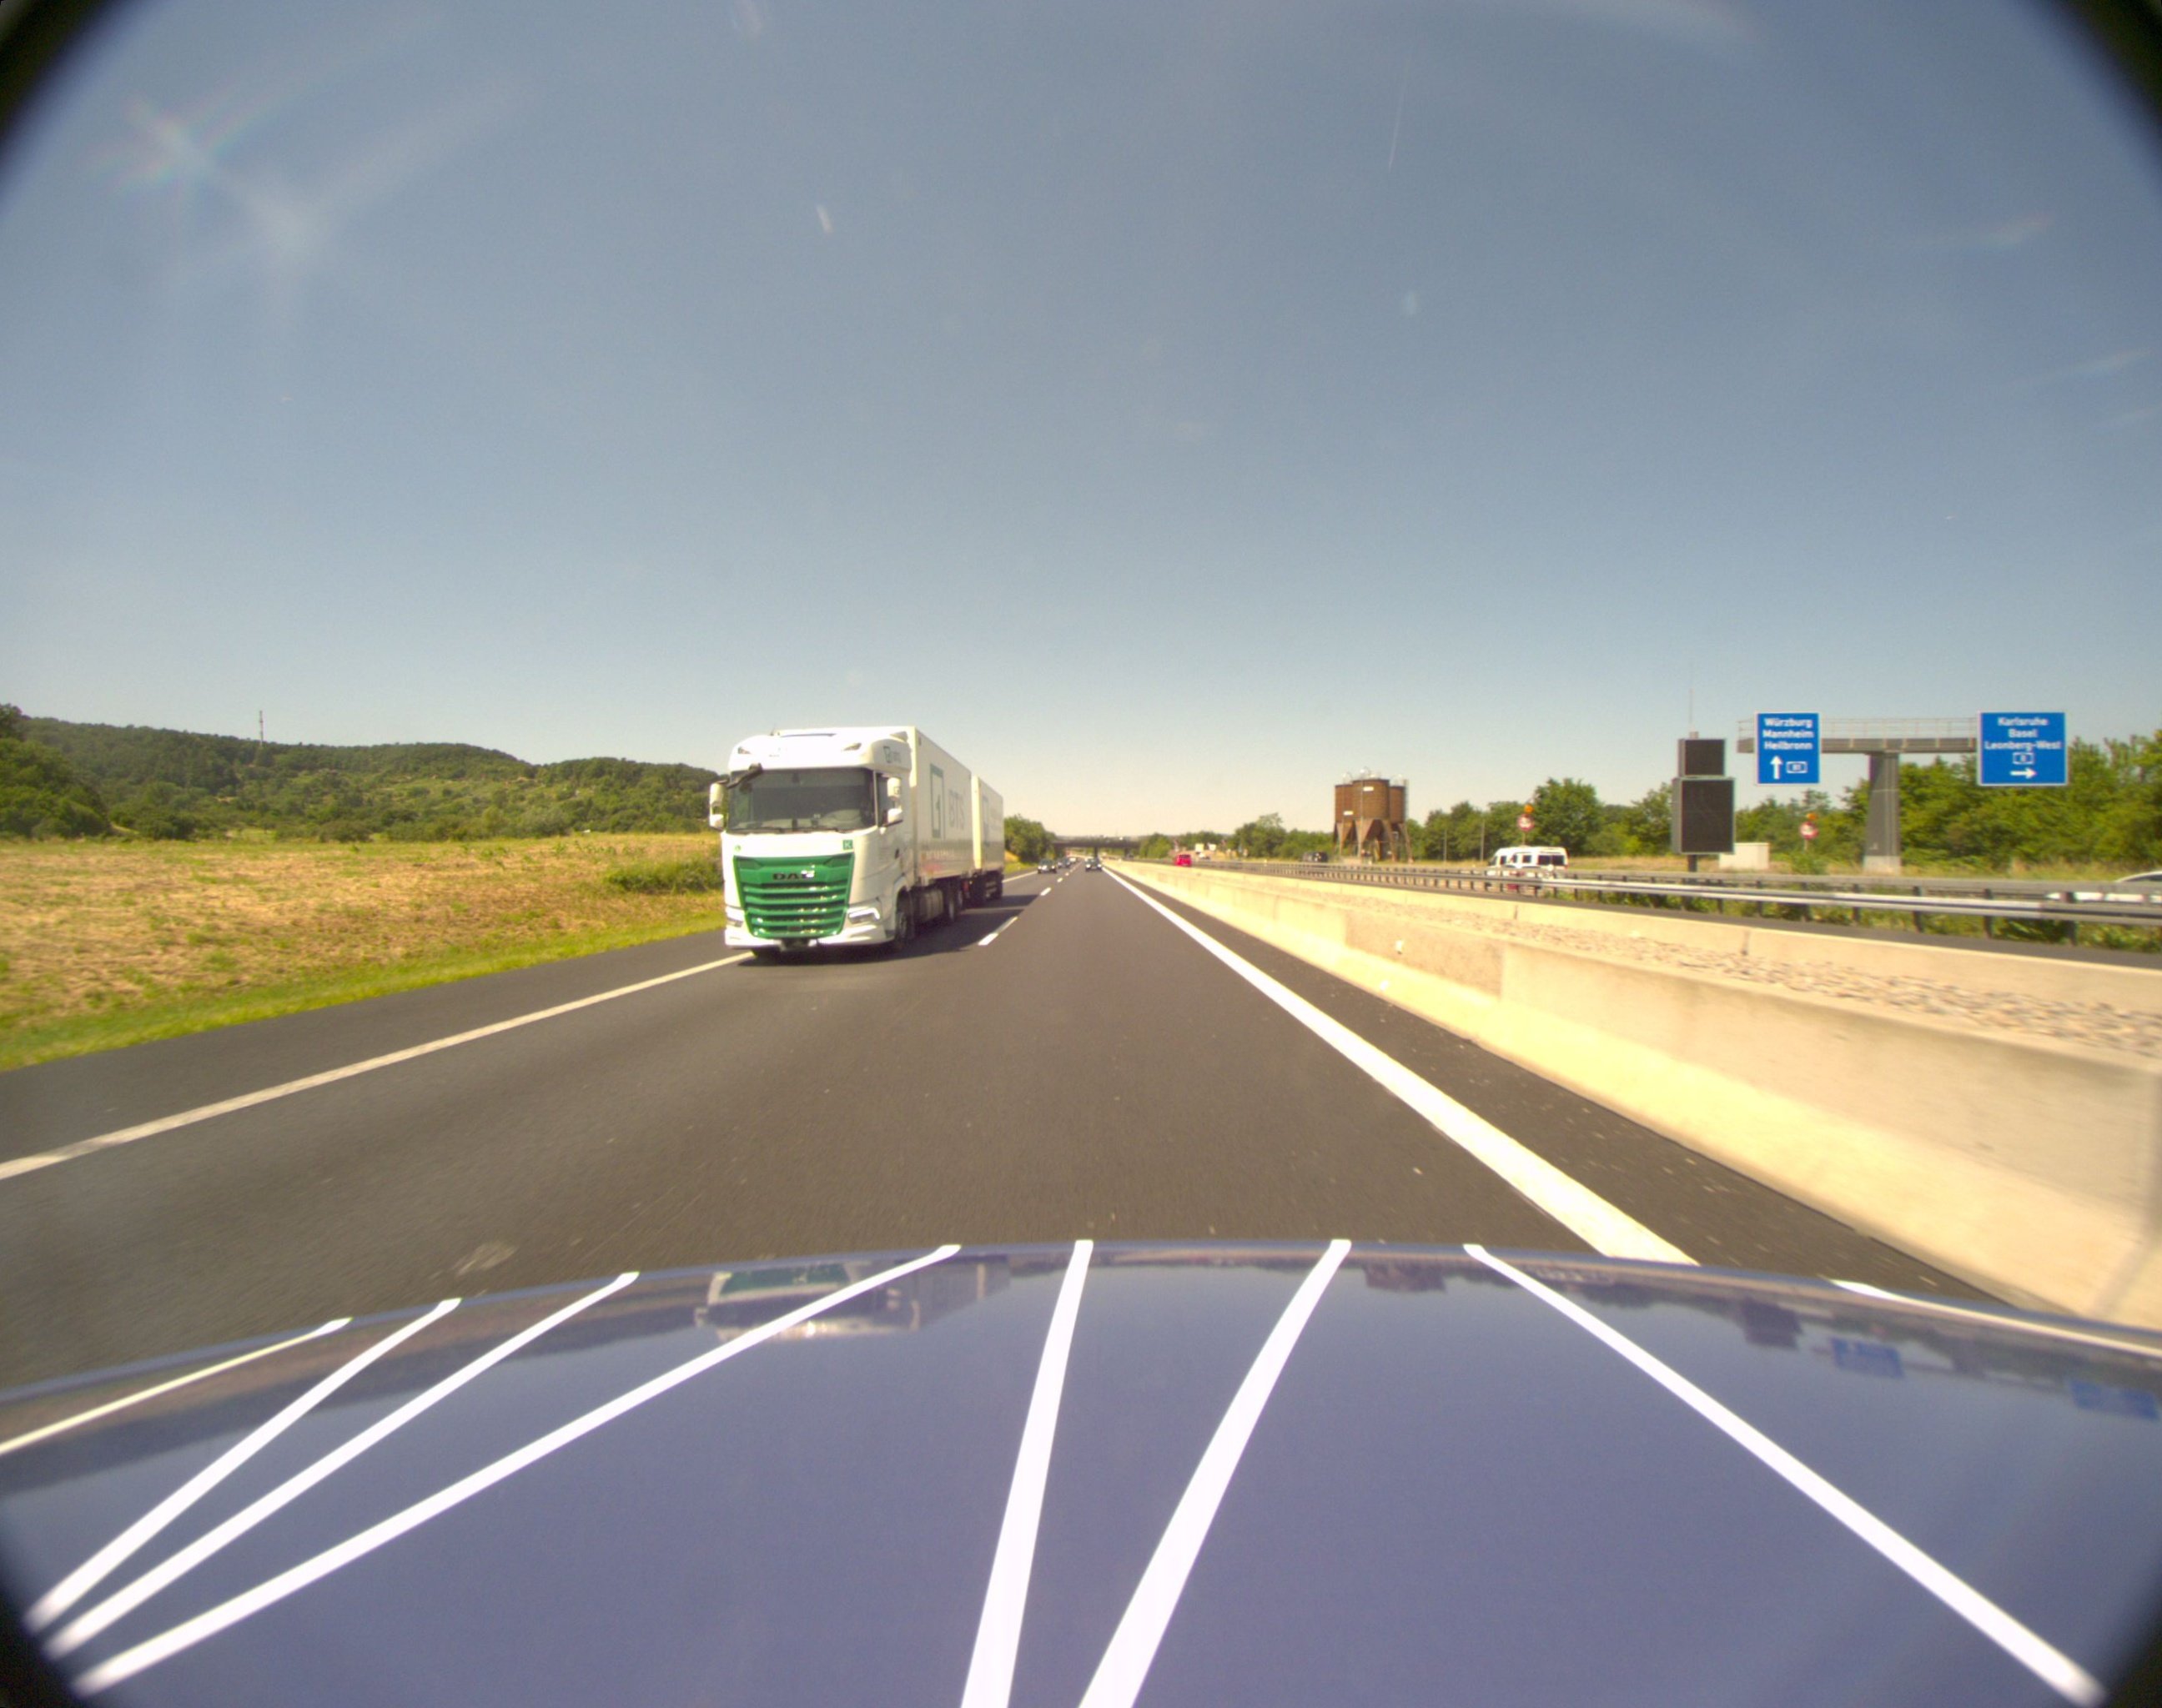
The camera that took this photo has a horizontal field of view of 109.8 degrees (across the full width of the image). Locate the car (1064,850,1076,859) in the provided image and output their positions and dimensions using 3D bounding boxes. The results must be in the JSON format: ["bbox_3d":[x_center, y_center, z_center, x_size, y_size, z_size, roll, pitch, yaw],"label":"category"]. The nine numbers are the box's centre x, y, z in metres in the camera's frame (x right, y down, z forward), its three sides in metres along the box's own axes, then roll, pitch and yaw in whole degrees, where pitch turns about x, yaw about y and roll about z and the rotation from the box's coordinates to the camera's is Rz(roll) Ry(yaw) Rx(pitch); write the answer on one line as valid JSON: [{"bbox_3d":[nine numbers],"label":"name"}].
[{"bbox_3d":[-1.995,0.165,144.255,1.998,1.574,4.000,-3,0,2],"label":"car"}]

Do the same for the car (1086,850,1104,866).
[{"bbox_3d":[1.428,0.438,80.243,1.799,1.574,3.999,-2,1,0],"label":"car"}]

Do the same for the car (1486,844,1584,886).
[{"bbox_3d":[29.213,0.671,49.245,2.803,2.487,5.963,1,0,1],"label":"car"}]

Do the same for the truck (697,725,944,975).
[{"bbox_3d":[-4.207,-0.080,13.332,2.649,3.572,4.403,-2,1,0],"label":"truck"}]

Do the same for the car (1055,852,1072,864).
[{"bbox_3d":[-2.456,0.585,106.131,1.998,1.574,4.000,-3,0,2],"label":"car"}]

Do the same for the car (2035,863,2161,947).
[{"bbox_3d":[24.433,1.132,16.498,1.799,1.718,4.452,-2,1,-1],"label":"car"}]

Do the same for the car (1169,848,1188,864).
[{"bbox_3d":[13.136,0.203,102.896,1.998,2.002,3.999,-2,1,1],"label":"car"}]

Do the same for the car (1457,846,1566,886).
[{"bbox_3d":[24.954,0.626,44.473,2.502,2.153,6.935,1,0,1],"label":"car"}]

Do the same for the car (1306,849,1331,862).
[{"bbox_3d":[29.521,0.195,94.595,1.799,1.501,3.999,-2,1,1],"label":"car"}]

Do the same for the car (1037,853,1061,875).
[{"bbox_3d":[-3.156,1.015,75.742,1.998,2.002,3.999,-2,1,1],"label":"car"}]

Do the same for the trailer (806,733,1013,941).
[{"bbox_3d":[-4.178,-0.388,23.029,2.663,4.164,14.893,-2,0,0],"label":"trailer"}]
